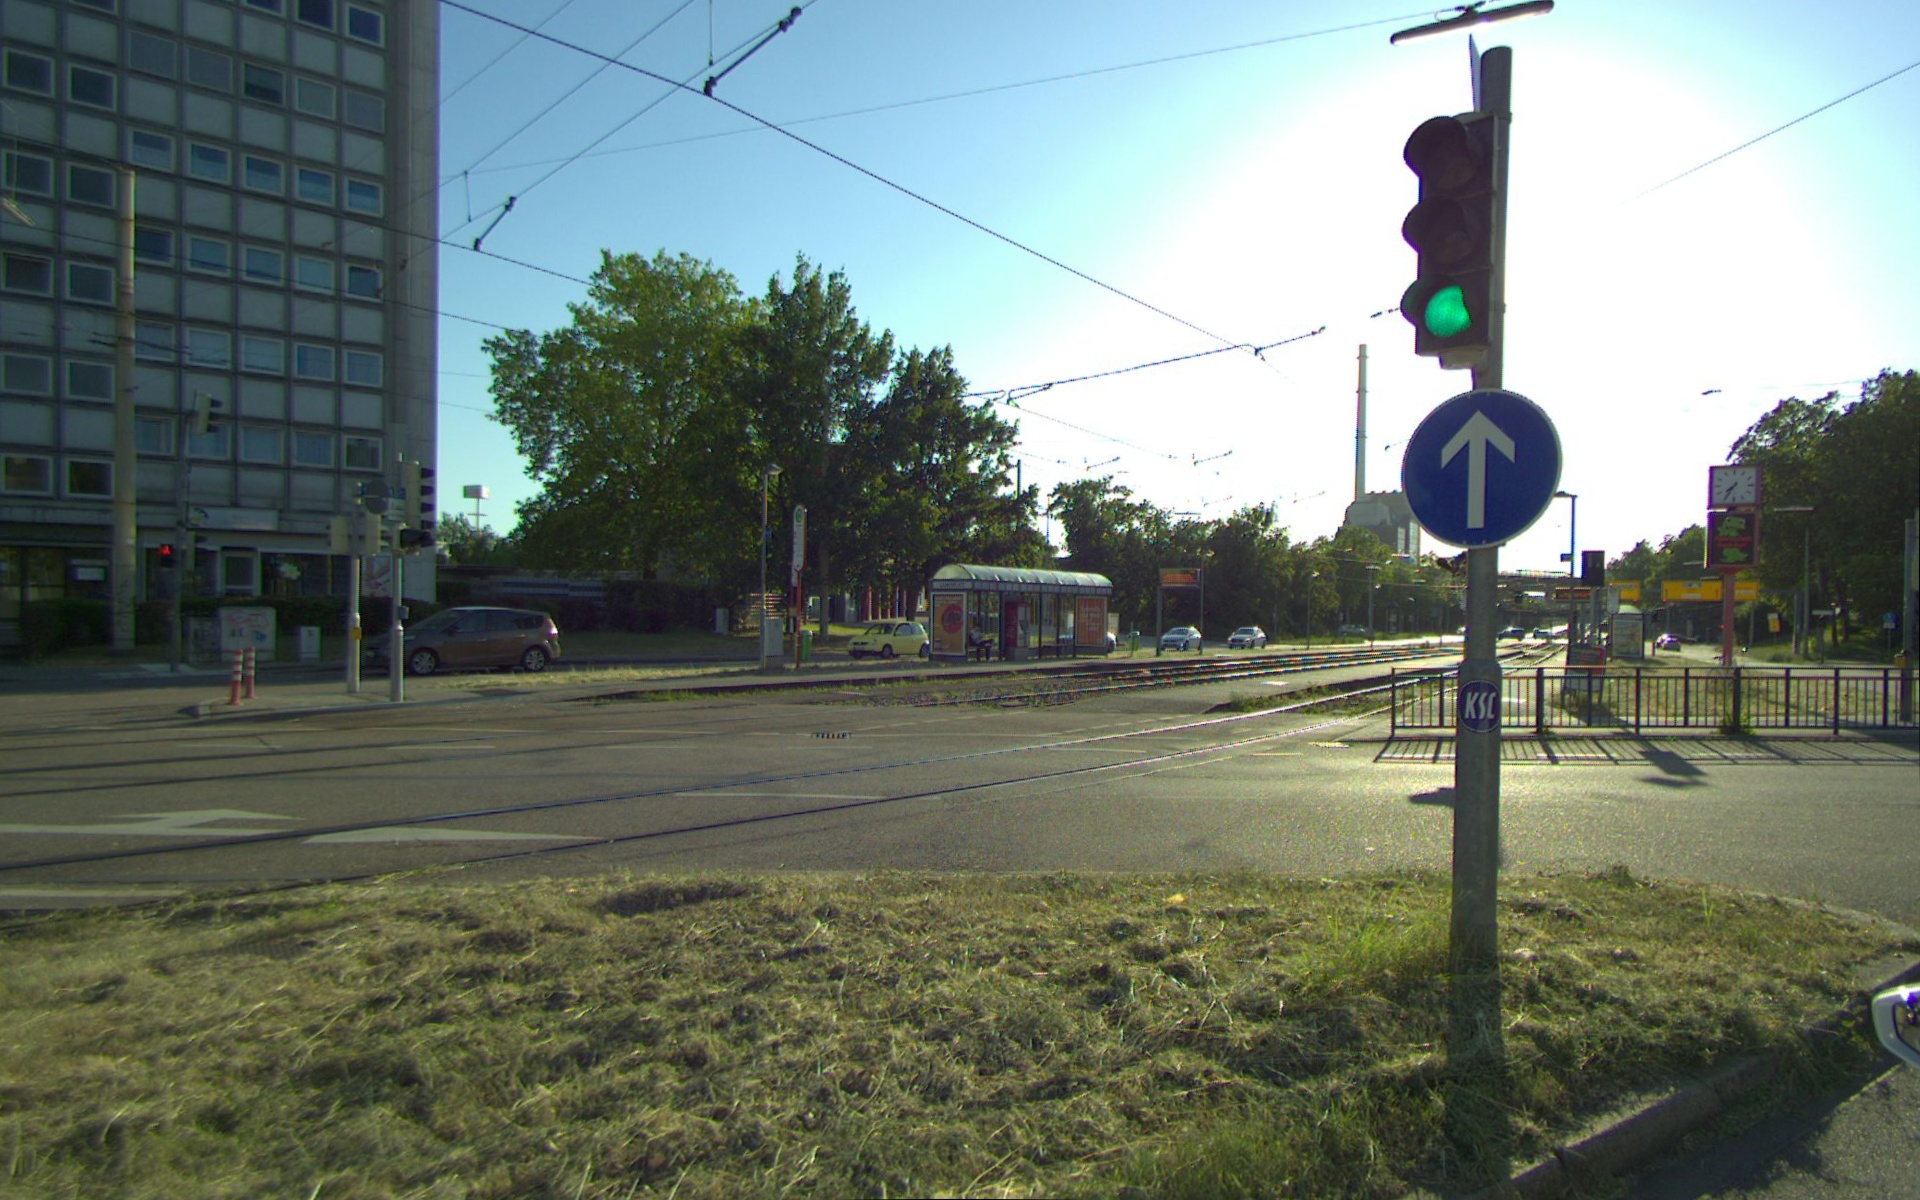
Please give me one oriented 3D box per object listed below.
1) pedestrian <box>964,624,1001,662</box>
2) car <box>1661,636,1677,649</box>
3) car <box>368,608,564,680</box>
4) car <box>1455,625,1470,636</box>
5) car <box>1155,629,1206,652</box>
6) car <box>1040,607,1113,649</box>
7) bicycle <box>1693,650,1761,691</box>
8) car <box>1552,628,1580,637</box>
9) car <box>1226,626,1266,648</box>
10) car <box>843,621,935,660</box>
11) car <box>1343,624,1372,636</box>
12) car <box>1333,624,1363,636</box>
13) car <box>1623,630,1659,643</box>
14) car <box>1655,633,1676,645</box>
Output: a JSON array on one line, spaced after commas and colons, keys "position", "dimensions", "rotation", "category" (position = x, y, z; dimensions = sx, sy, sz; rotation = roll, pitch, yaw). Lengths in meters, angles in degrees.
[{"position": [0.730, 1.388, 32.493], "dimensions": [0.832, 1.204, 0.919], "rotation": [0, -1, 36], "category": "pedestrian"}, {"position": [86.488, 5.206, 122.494], "dimensions": [1.494, 1.406, 3.353], "rotation": [1, 1, 34], "category": "car"}, {"position": [-12.336, 1.083, 25.308], "dimensions": [1.561, 1.616, 4.134], "rotation": [2, 0, 39], "category": "car"}, {"position": [96.587, 5.868, 193.059], "dimensions": [1.966, 2.040, 3.988], "rotation": [0, -1, 34], "category": "car"}, {"position": [14.059, 2.558, 63.924], "dimensions": [1.777, 1.385, 3.953], "rotation": [1, -1, 35], "category": "car"}, {"position": [6.070, 1.433, 51.908], "dimensions": [1.968, 2.040, 4.145], "rotation": [0, -1, 37], "category": "car"}, {"position": [18.435, 1.676, 24.141], "dimensions": [1.719, 0.930, 0.552], "rotation": [1, -2, -25], "category": "bicycle"}, {"position": [100.347, 5.405, 166.312], "dimensions": [3.930, 1.465, 1.770], "rotation": [0, -1, 32], "category": "car"}, {"position": [21.203, 2.696, 74.323], "dimensions": [1.633, 1.552, 4.379], "rotation": [0, -1, 34], "category": "car"}, {"position": [-2.670, 1.507, 38.289], "dimensions": [1.525, 1.358, 3.581], "rotation": [1, -1, 36], "category": "car"}, {"position": [62.002, 4.624, 156.757], "dimensions": [3.919, 1.773, 2.001], "rotation": [1, -1, 7], "category": "car"}, {"position": [59.417, 4.584, 153.856], "dimensions": [3.919, 1.773, 2.001], "rotation": [1, -1, 7], "category": "car"}, {"position": [119.553, 6.389, 176.421], "dimensions": [1.982, 2.041, 4.808], "rotation": [0, 1, -38], "category": "car"}, {"position": [90.448, 5.003, 128.832], "dimensions": [2.009, 1.465, 3.990], "rotation": [0, -1, 32], "category": "car"}]
